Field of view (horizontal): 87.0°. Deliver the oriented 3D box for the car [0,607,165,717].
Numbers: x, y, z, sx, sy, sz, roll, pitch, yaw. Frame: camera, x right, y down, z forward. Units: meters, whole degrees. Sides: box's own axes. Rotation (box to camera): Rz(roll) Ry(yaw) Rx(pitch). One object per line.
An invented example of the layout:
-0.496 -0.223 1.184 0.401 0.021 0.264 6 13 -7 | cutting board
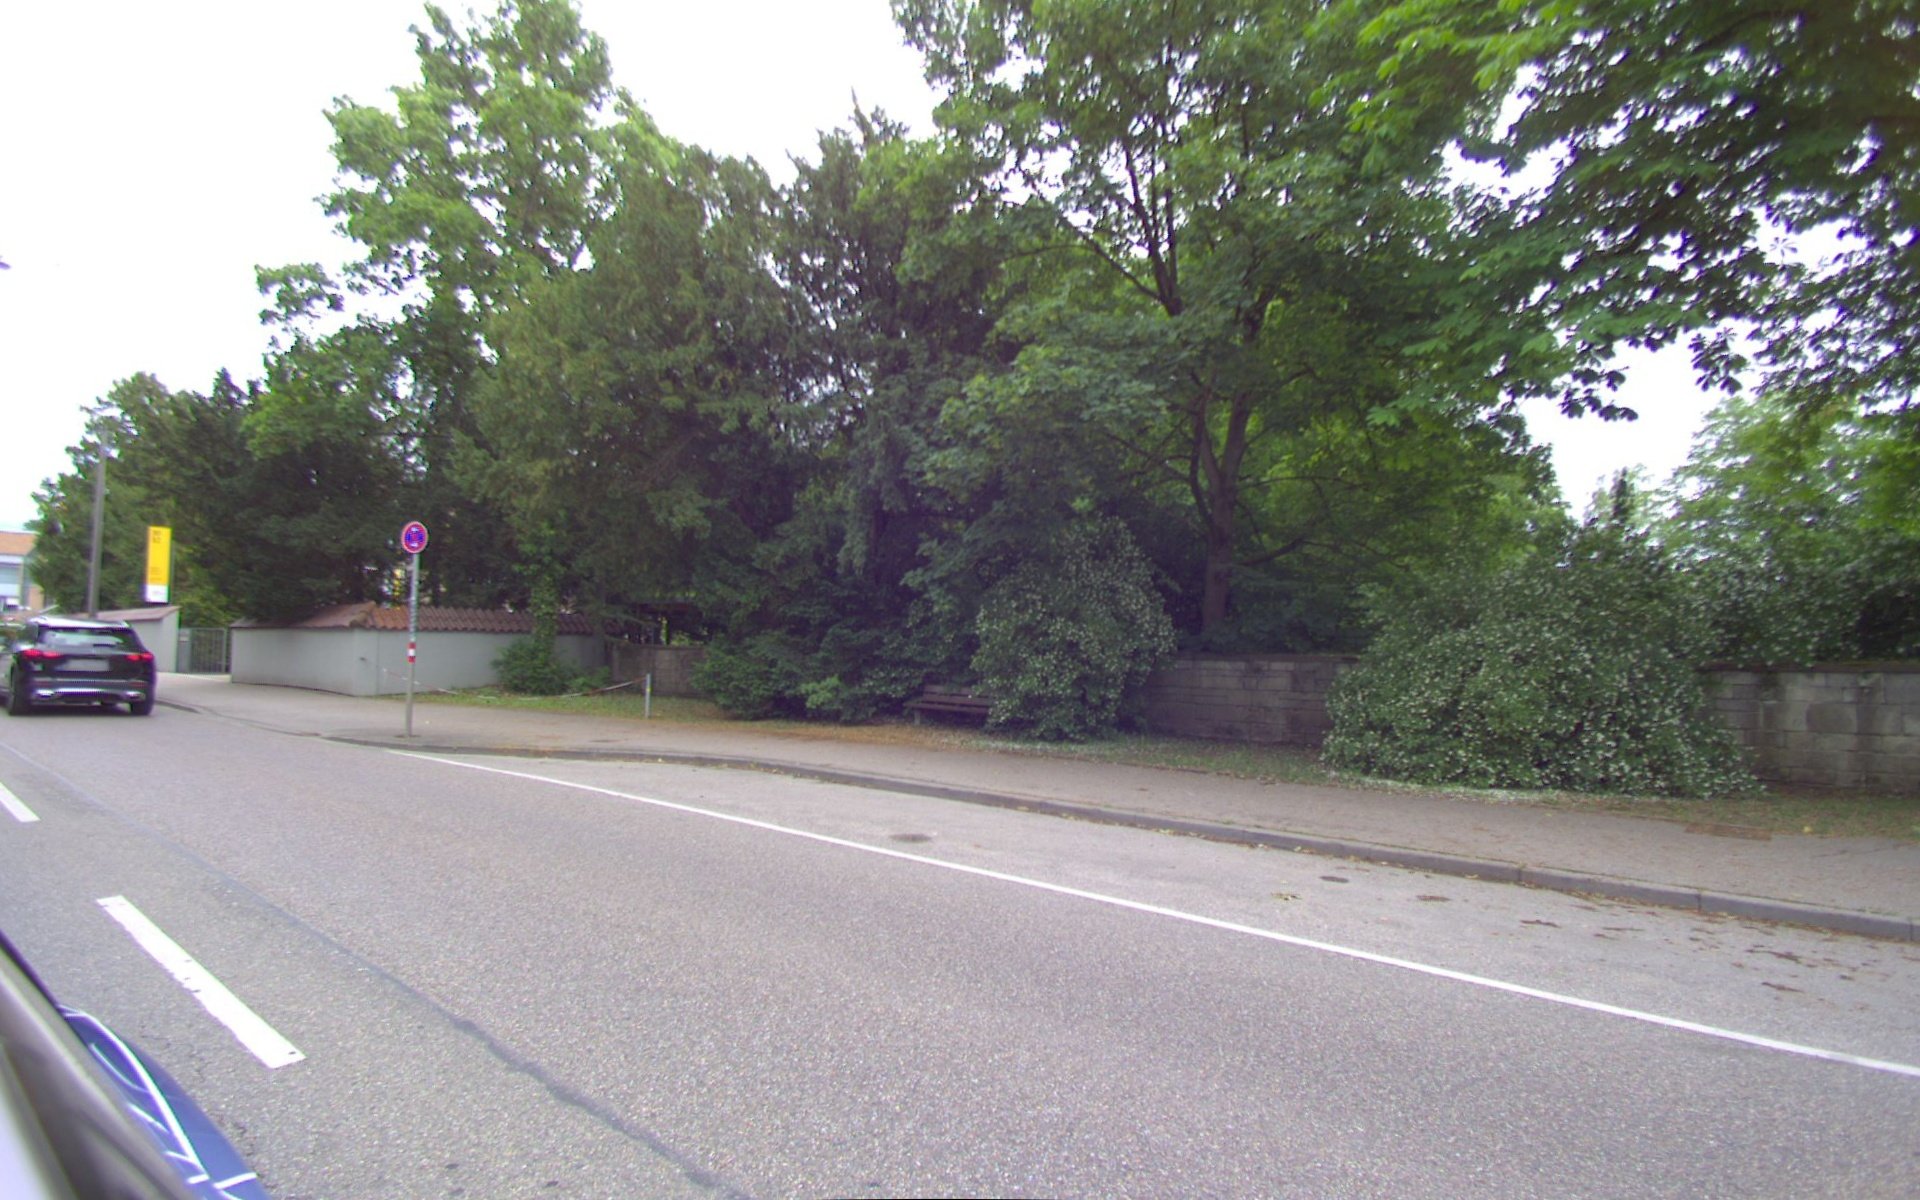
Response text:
-15.412 1.046 17.428 4.304 1.670 1.840 -1 -6 41 | car
